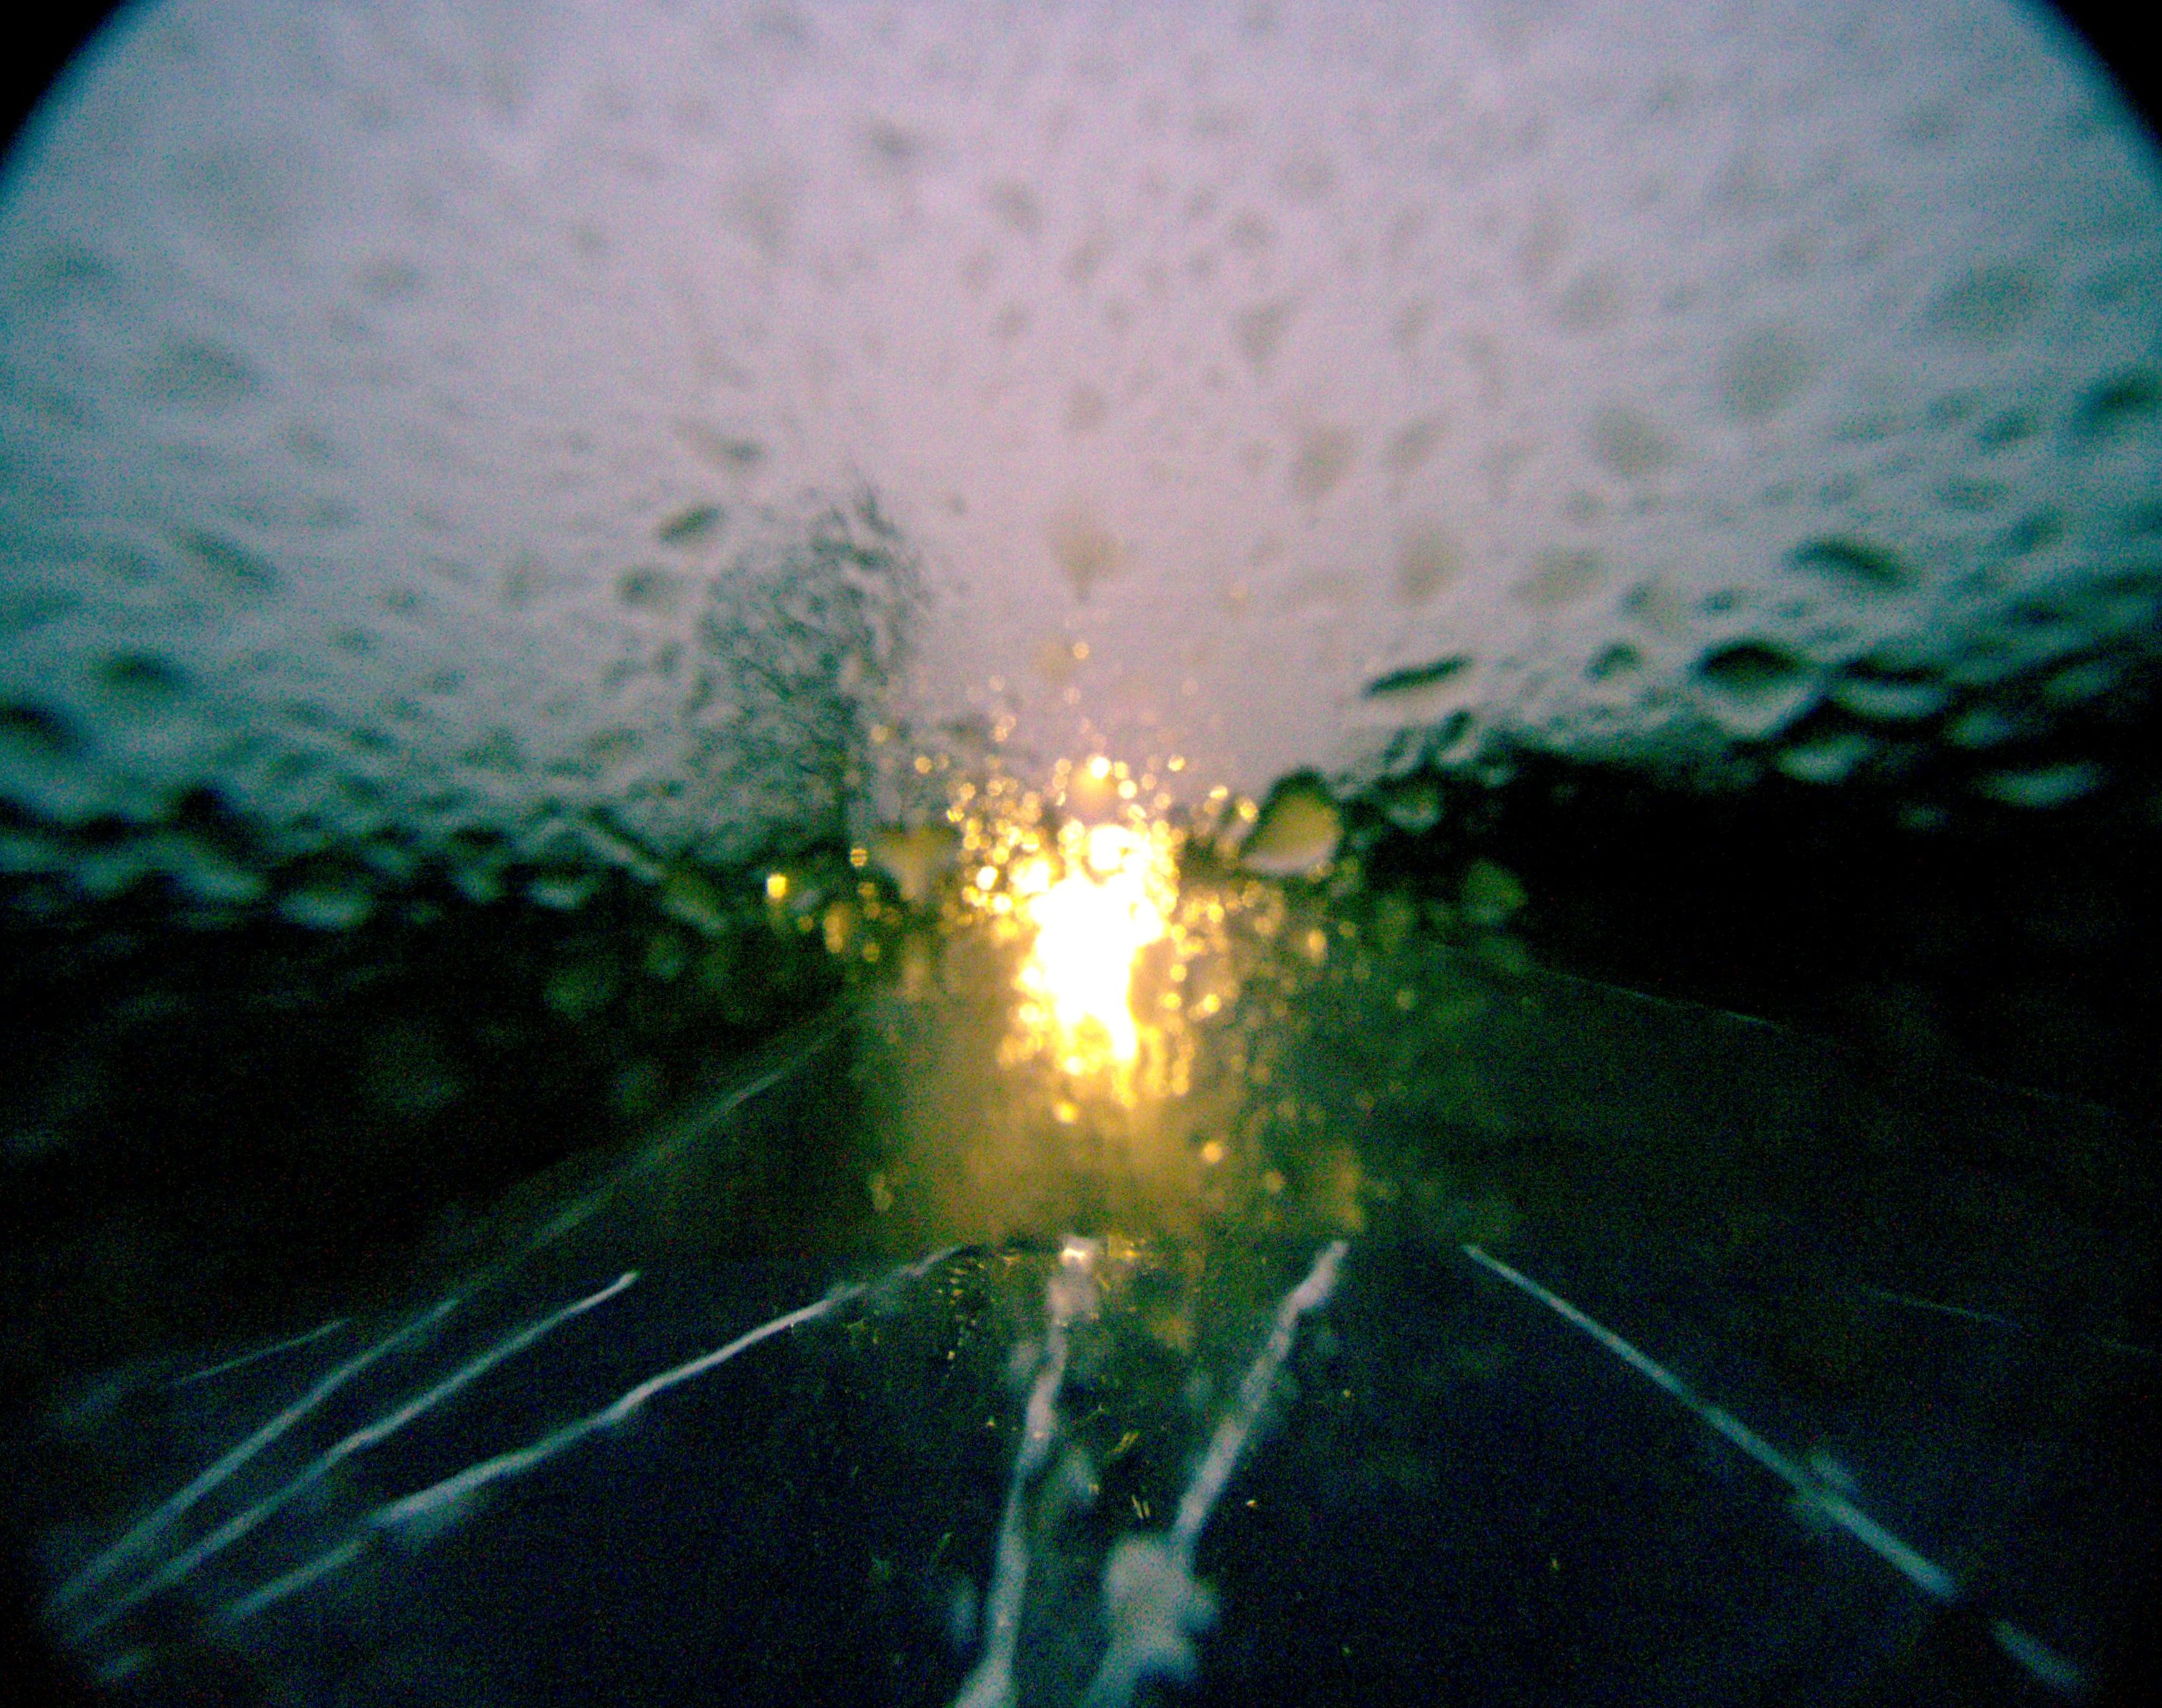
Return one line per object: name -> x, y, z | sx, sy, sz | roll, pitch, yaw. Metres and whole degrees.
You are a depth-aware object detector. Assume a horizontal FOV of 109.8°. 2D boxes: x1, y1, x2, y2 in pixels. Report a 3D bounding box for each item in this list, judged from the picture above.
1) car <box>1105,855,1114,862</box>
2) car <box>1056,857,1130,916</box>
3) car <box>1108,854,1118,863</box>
car -> 6.439, 0.973, 170.343 | 1.830, 1.490, 4.095 | -2, 0, 0
car -> 0.475, 0.960, 24.139 | 1.998, 1.601, 4.001 | -2, 0, 5
car -> 6.046, 0.766, 142.544 | 1.763, 1.631, 4.686 | -3, 0, 1
